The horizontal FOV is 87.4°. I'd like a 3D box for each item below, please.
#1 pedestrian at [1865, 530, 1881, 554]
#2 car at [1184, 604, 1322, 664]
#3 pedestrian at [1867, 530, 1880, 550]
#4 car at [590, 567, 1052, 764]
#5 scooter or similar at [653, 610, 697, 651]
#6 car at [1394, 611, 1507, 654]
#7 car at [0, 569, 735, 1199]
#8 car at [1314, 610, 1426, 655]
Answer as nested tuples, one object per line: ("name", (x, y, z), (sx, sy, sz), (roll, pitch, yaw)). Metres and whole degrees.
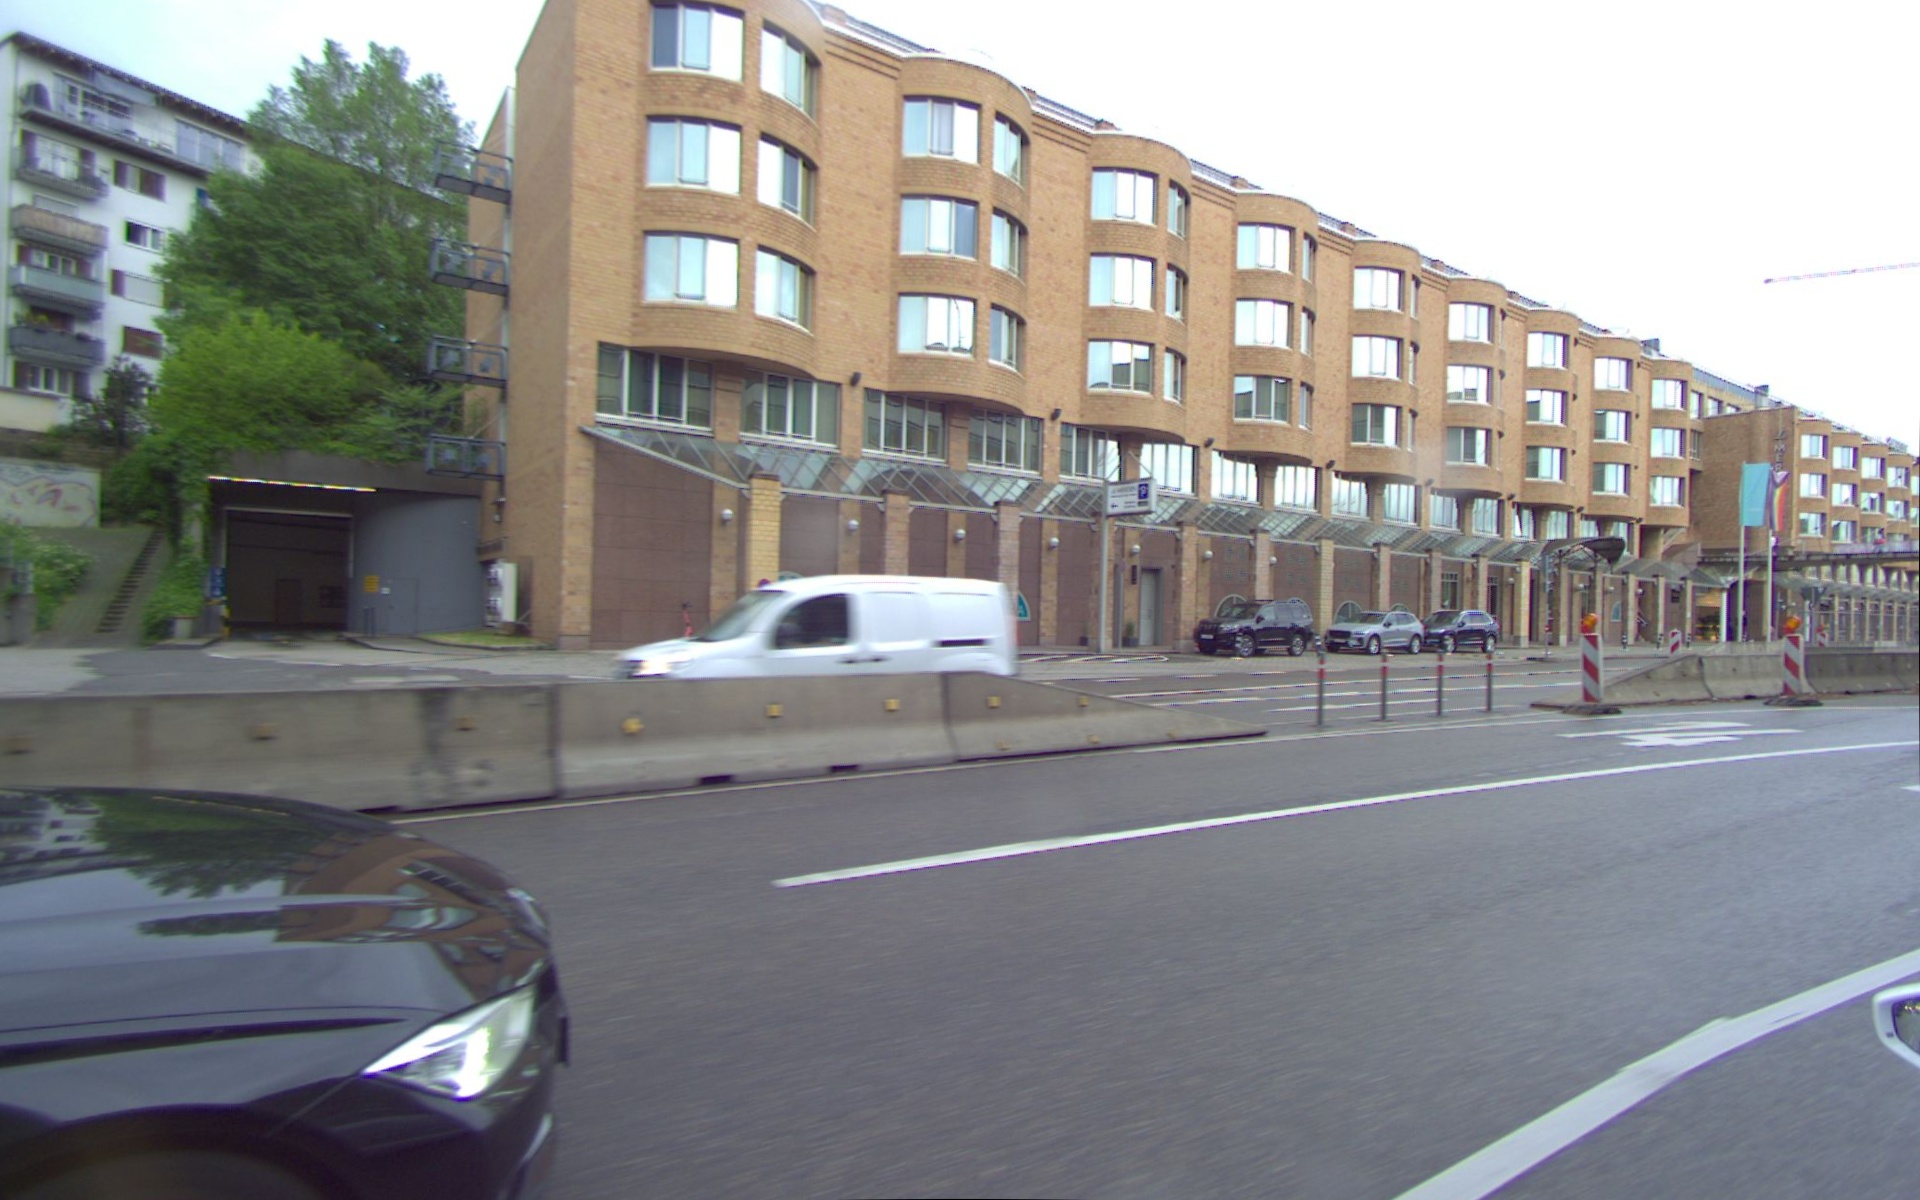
("pedestrian", (58.320, -3.675, 64.173), (0.611, 1.471, 0.617), (1, -1, -30))
("car", (10.108, 1.123, 34.480), (4.967, 1.911, 1.979), (1, 0, -37))
("pedestrian", (58.347, -3.837, 64.131), (0.478, 1.210, 0.473), (1, -1, -30))
("car", (-1.449, 0.635, 11.310), (4.823, 1.807, 1.875), (1, 0, -33))
("scooter or similar", (-7.555, 0.798, 26.659), (0.444, 1.077, 1.038), (1, 0, 44))
("car", (20.561, 1.336, 42.041), (4.995, 1.713, 1.982), (1, 0, -33))
("car", (-2.832, 0.663, 1.389), (4.607, 1.462, 1.757), (1, 0, -33))
("car", (15.865, 1.236, 38.761), (4.497, 1.615, 1.979), (1, 0, -37))
